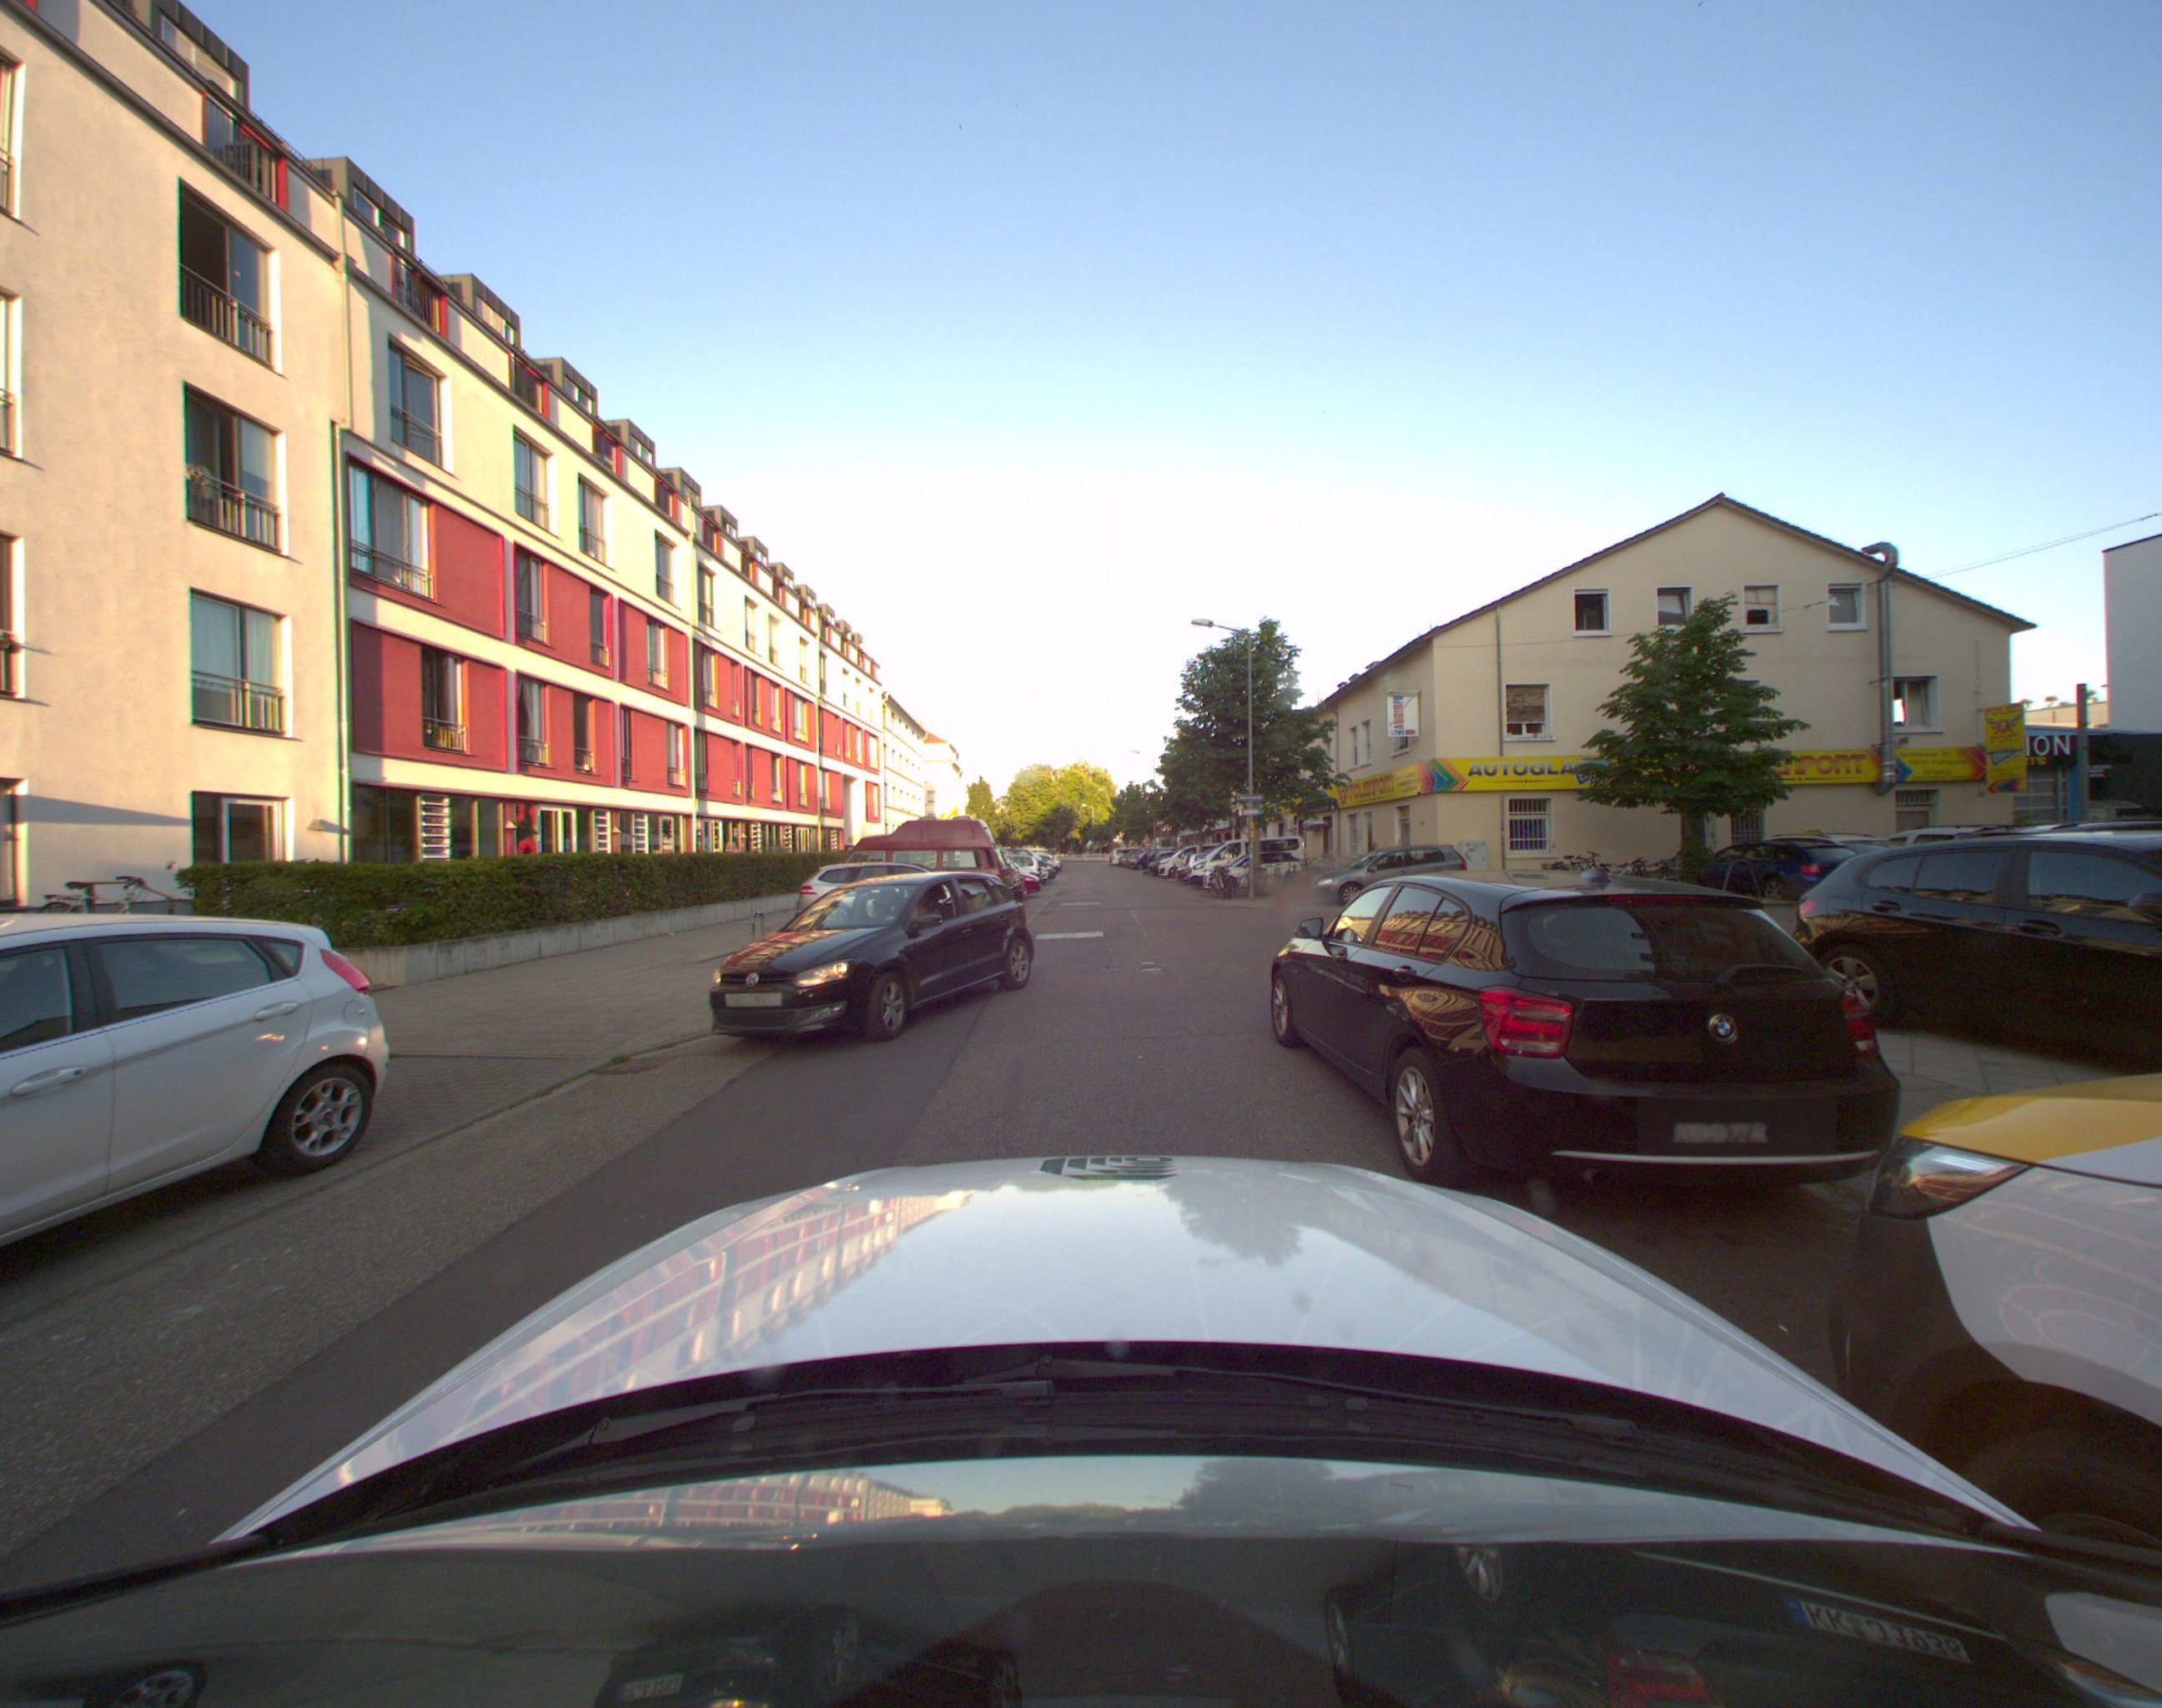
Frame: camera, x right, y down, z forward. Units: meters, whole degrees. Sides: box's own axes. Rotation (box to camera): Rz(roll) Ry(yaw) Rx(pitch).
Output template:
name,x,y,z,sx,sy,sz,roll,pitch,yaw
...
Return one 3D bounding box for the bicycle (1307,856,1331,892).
name,x,y,z,sx,sy,sz,roll,pitch,yaw
bicycle,7.912,0.638,27.078,0.351,1.143,1.482,-2,0,1

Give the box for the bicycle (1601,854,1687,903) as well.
name,x,y,z,sx,sy,sz,roll,pitch,yaw
bicycle,13.475,0.584,19.492,1.917,1.128,0.427,-1,1,-8

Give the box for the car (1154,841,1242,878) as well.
name,x,y,z,sx,sy,sz,roll,pitch,yaw
car,7.061,0.331,49.432,4.930,1.958,2.048,-3,0,-1

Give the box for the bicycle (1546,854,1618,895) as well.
name,x,y,z,sx,sy,sz,roll,pitch,yaw
bicycle,13.455,0.557,21.876,1.725,1.070,0.343,0,2,-1

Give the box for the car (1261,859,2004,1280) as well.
name,x,y,z,sx,sy,sz,roll,pitch,yaw
car,2.387,0.762,4.960,1.715,1.424,4.254,0,0,1

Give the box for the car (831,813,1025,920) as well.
name,x,y,z,sx,sy,sz,roll,pitch,yaw
car,-3.777,0.297,20.692,4.493,2.584,2.001,0,0,2

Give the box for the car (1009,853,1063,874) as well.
name,x,y,z,sx,sy,sz,roll,pitch,yaw
car,-3.649,0.739,66.776,4.242,1.714,2.000,0,0,0

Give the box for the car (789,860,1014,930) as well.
name,x,y,z,sx,sy,sz,roll,pitch,yaw
car,-3.849,0.866,18.113,4.604,1.460,1.879,0,0,-3

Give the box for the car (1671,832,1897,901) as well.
name,x,y,z,sx,sy,sz,roll,pitch,yaw
car,17.661,0.286,20.822,1.736,1.509,4.570,-2,0,-1

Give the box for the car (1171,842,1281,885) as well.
name,x,y,z,sx,sy,sz,roll,pitch,yaw
car,6.963,0.426,39.389,4.926,1.742,2.050,-3,0,1

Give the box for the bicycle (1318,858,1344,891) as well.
name,x,y,z,sx,sy,sz,roll,pitch,yaw
bicycle,8.319,0.673,27.118,0.386,1.017,1.482,-2,0,1

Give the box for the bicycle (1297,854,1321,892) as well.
name,x,y,z,sx,sy,sz,roll,pitch,yaw
bicycle,7.550,0.614,27.000,0.351,1.200,1.482,-2,0,1

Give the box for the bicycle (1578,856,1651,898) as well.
name,x,y,z,sx,sy,sz,roll,pitch,yaw
bicycle,13.524,0.578,20.659,1.596,1.041,0.344,0,2,2

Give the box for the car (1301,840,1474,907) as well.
name,x,y,z,sx,sy,sz,roll,pitch,yaw
car,8.216,0.497,22.079,4.035,1.514,1.757,-3,2,1

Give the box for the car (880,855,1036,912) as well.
name,x,y,z,sx,sy,sz,roll,pitch,yaw
car,-3.419,0.810,23.256,4.197,1.538,1.790,0,0,-1

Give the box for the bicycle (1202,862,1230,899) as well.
name,x,y,z,sx,sy,sz,roll,pitch,yaw
bicycle,4.463,0.849,27.018,0.437,1.130,2.014,-2,0,-4

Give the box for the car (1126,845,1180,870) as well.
name,x,y,z,sx,sy,sz,roll,pitch,yaw
car,6.350,0.307,71.821,4.470,1.911,1.685,-3,0,-4

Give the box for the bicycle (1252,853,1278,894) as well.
name,x,y,z,sx,sy,sz,roll,pitch,yaw
bicycle,6.130,0.628,27.215,0.384,1.304,2.018,-2,0,1

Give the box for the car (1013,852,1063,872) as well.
name,x,y,z,sx,sy,sz,roll,pitch,yaw
car,-3.721,0.665,71.550,4.242,1.749,2.000,0,0,0

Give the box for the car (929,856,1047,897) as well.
name,x,y,z,sx,sy,sz,roll,pitch,yaw
car,-3.454,0.846,30.866,4.194,1.490,1.850,0,0,1

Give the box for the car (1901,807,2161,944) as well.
name,x,y,z,sx,sy,sz,roll,pitch,yaw
car,14.402,0.250,11.233,4.306,1.672,1.877,-2,-2,-1

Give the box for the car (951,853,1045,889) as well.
name,x,y,z,sx,sy,sz,roll,pitch,yaw
car,-3.904,0.789,38.766,4.242,1.660,2.000,0,0,0

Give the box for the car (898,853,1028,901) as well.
name,x,y,z,sx,sy,sz,roll,pitch,yaw
car,-3.990,0.770,28.089,4.197,1.575,1.999,0,0,-1

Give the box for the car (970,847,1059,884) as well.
name,x,y,z,sx,sy,sz,roll,pitch,yaw
car,-3.672,0.609,45.676,4.834,2.021,1.907,0,0,0

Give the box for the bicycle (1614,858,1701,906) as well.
name,x,y,z,sx,sy,sz,roll,pitch,yaw
bicycle,13.484,0.640,19.046,1.848,1.075,0.427,-1,2,-8

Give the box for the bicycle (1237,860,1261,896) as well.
name,x,y,z,sx,sy,sz,roll,pitch,yaw
bicycle,5.590,0.786,27.224,0.384,1.114,2.018,-2,0,1

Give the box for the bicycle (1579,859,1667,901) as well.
name,x,y,z,sx,sy,sz,roll,pitch,yaw
bicycle,13.390,0.630,20.133,1.842,1.010,0.428,0,2,2

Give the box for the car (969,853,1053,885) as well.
name,x,y,z,sx,sy,sz,roll,pitch,yaw
car,-3.643,0.784,43.120,4.242,1.652,1.888,0,0,0

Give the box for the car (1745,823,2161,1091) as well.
name,x,y,z,sx,sy,sz,roll,pitch,yaw
car,6.709,0.538,4.929,1.720,1.424,4.422,-3,0,0

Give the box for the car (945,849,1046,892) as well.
name,x,y,z,sx,sy,sz,roll,pitch,yaw
car,-3.767,0.717,36.291,4.242,1.836,2.000,0,0,0

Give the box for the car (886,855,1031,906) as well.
name,x,y,z,sx,sy,sz,roll,pitch,yaw
car,-3.833,0.796,25.827,4.187,1.538,1.845,0,0,6

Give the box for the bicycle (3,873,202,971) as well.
name,x,y,z,sx,sy,sz,roll,pitch,yaw
bicycle,-12.036,0.816,10.044,1.768,1.148,0.611,0,0,3

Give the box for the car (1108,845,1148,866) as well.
name,x,y,z,sx,sy,sz,roll,pitch,yaw
car,5.025,0.167,87.340,3.960,1.911,2.046,-3,0,-4

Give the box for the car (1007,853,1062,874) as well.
name,x,y,z,sx,sy,sz,roll,pitch,yaw
car,-3.632,0.722,64.034,4.243,1.622,2.000,0,0,0

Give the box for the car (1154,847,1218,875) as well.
name,x,y,z,sx,sy,sz,roll,pitch,yaw
car,7.608,0.506,59.135,4.304,1.804,1.810,-3,0,-1

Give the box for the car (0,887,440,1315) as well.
name,x,y,z,sx,sy,sz,roll,pitch,yaw
car,-4.928,0.990,3.231,1.646,1.530,4.014,-1,0,-2

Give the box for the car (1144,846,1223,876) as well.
name,x,y,z,sx,sy,sz,roll,pitch,yaw
car,6.786,0.456,54.233,4.930,1.689,2.076,-3,0,-1

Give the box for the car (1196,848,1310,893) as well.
name,x,y,z,sx,sy,sz,roll,pitch,yaw
car,6.563,0.597,31.340,3.908,1.451,1.767,-3,0,-2

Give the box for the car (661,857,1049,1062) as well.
name,x,y,z,sx,sy,sz,roll,pitch,yaw
car,-1.965,0.871,8.369,1.637,1.455,3.963,-4,0,23

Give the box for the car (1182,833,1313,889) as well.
name,x,y,z,sx,sy,sz,roll,pitch,yaw
car,6.876,0.285,34.125,4.972,1.983,2.220,-3,0,1

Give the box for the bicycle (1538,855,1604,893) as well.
name,x,y,z,sx,sy,sz,roll,pitch,yaw
bicycle,13.363,0.549,22.225,1.597,1.019,0.343,0,2,-1

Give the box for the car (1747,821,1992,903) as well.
name,x,y,z,sx,sy,sz,roll,pitch,yaw
car,19.887,0.129,20.893,1.866,1.831,4.577,-2,1,0

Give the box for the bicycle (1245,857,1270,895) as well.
name,x,y,z,sx,sy,sz,roll,pitch,yaw
bicycle,5.872,0.720,27.208,0.384,1.200,2.018,-2,0,1

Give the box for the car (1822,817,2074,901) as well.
name,x,y,z,sx,sy,sz,roll,pitch,yaw
car,22.188,0.160,21.154,1.866,1.902,4.331,-2,-1,0

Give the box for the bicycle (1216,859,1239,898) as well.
name,x,y,z,sx,sy,sz,roll,pitch,yaw
bicycle,4.881,0.794,27.200,0.384,1.200,2.018,-2,0,1

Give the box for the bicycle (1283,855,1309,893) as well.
name,x,y,z,sx,sy,sz,roll,pitch,yaw
bicycle,7.123,0.641,27.015,0.443,1.200,1.482,-2,0,1

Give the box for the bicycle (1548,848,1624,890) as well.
name,x,y,z,sx,sy,sz,roll,pitch,yaw
bicycle,14.093,0.424,22.740,1.853,1.149,0.344,0,2,2

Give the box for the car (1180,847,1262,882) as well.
name,x,y,z,sx,sy,sz,roll,pitch,yaw
car,7.174,0.535,42.100,3.897,1.526,1.940,-3,0,1

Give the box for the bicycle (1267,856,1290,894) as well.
name,x,y,z,sx,sy,sz,roll,pitch,yaw
bicycle,6.548,0.666,27.053,0.384,1.200,1.482,-2,0,1

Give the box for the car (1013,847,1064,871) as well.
name,x,y,z,sx,sy,sz,roll,pitch,yaw
car,-3.860,0.414,74.189,4.518,2.134,2.000,0,0,0
